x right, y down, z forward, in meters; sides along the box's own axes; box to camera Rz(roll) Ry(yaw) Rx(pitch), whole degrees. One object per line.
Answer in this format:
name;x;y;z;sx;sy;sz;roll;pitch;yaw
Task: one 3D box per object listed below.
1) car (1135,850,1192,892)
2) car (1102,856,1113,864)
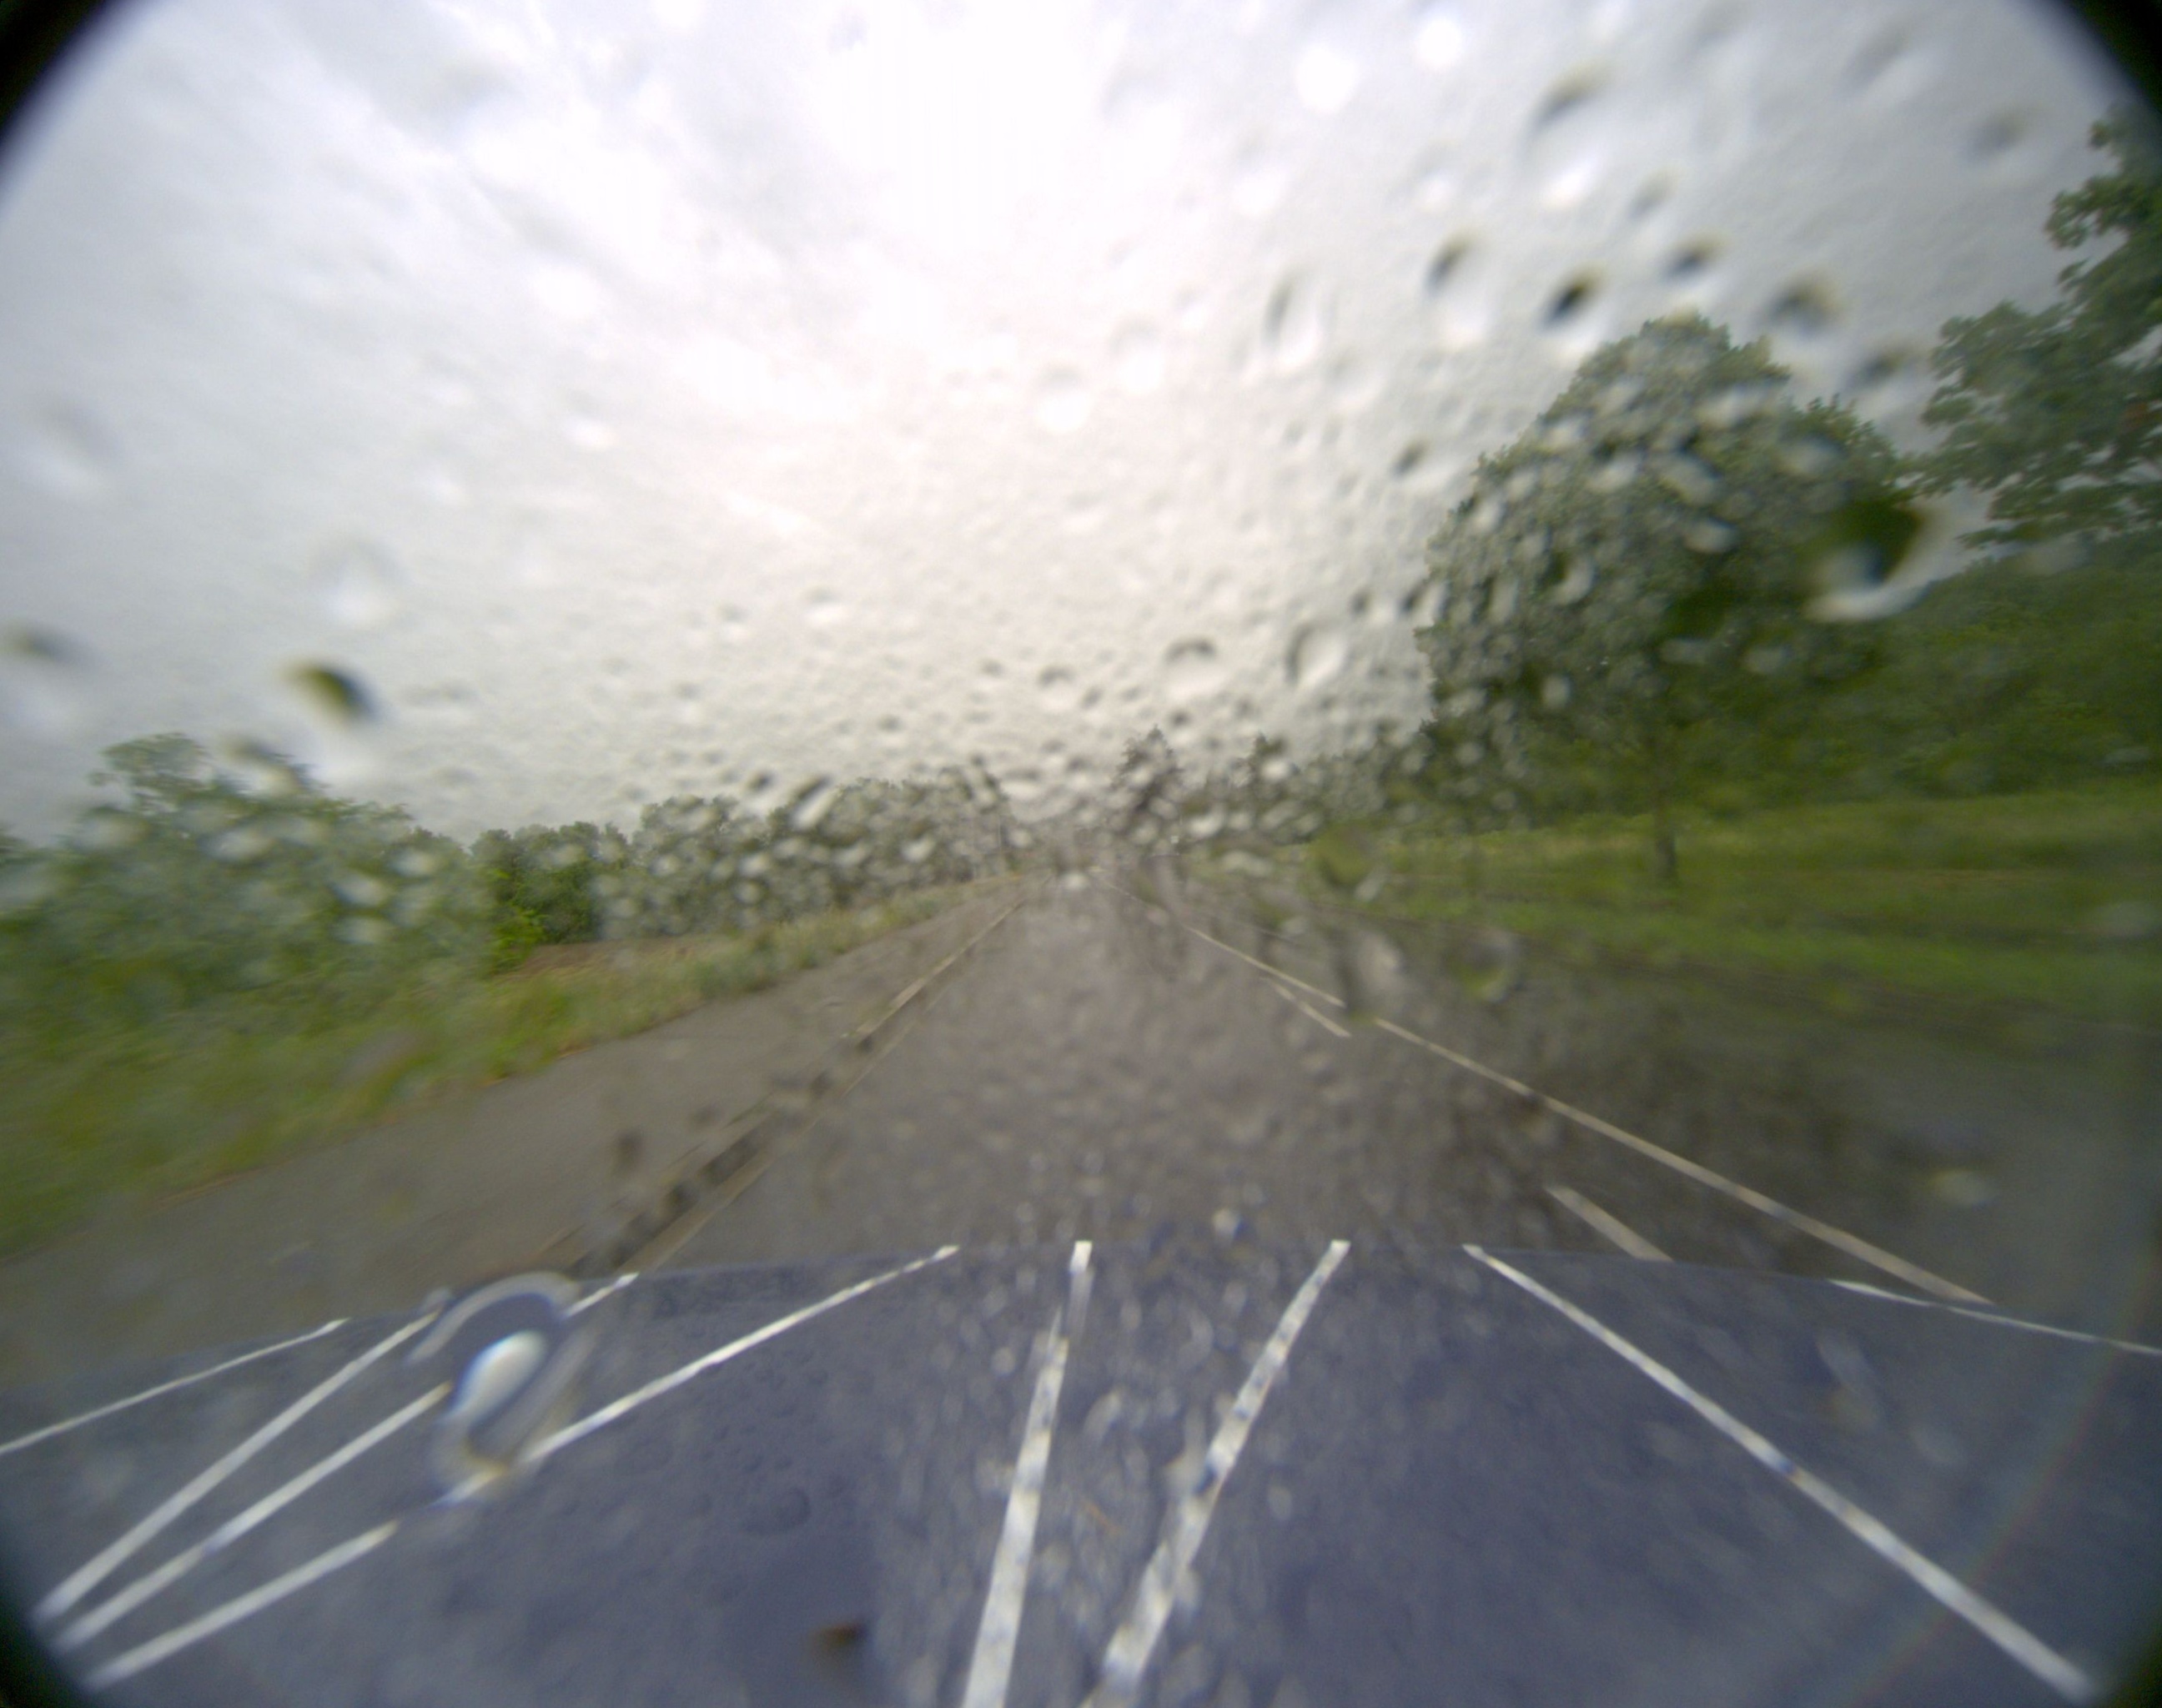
car;3.560;0.690;33.462;1.746;1.694;4.221;-2;0;-3
car;4.561;1.051;131.076;1.540;1.237;3.999;-2;0;-1
